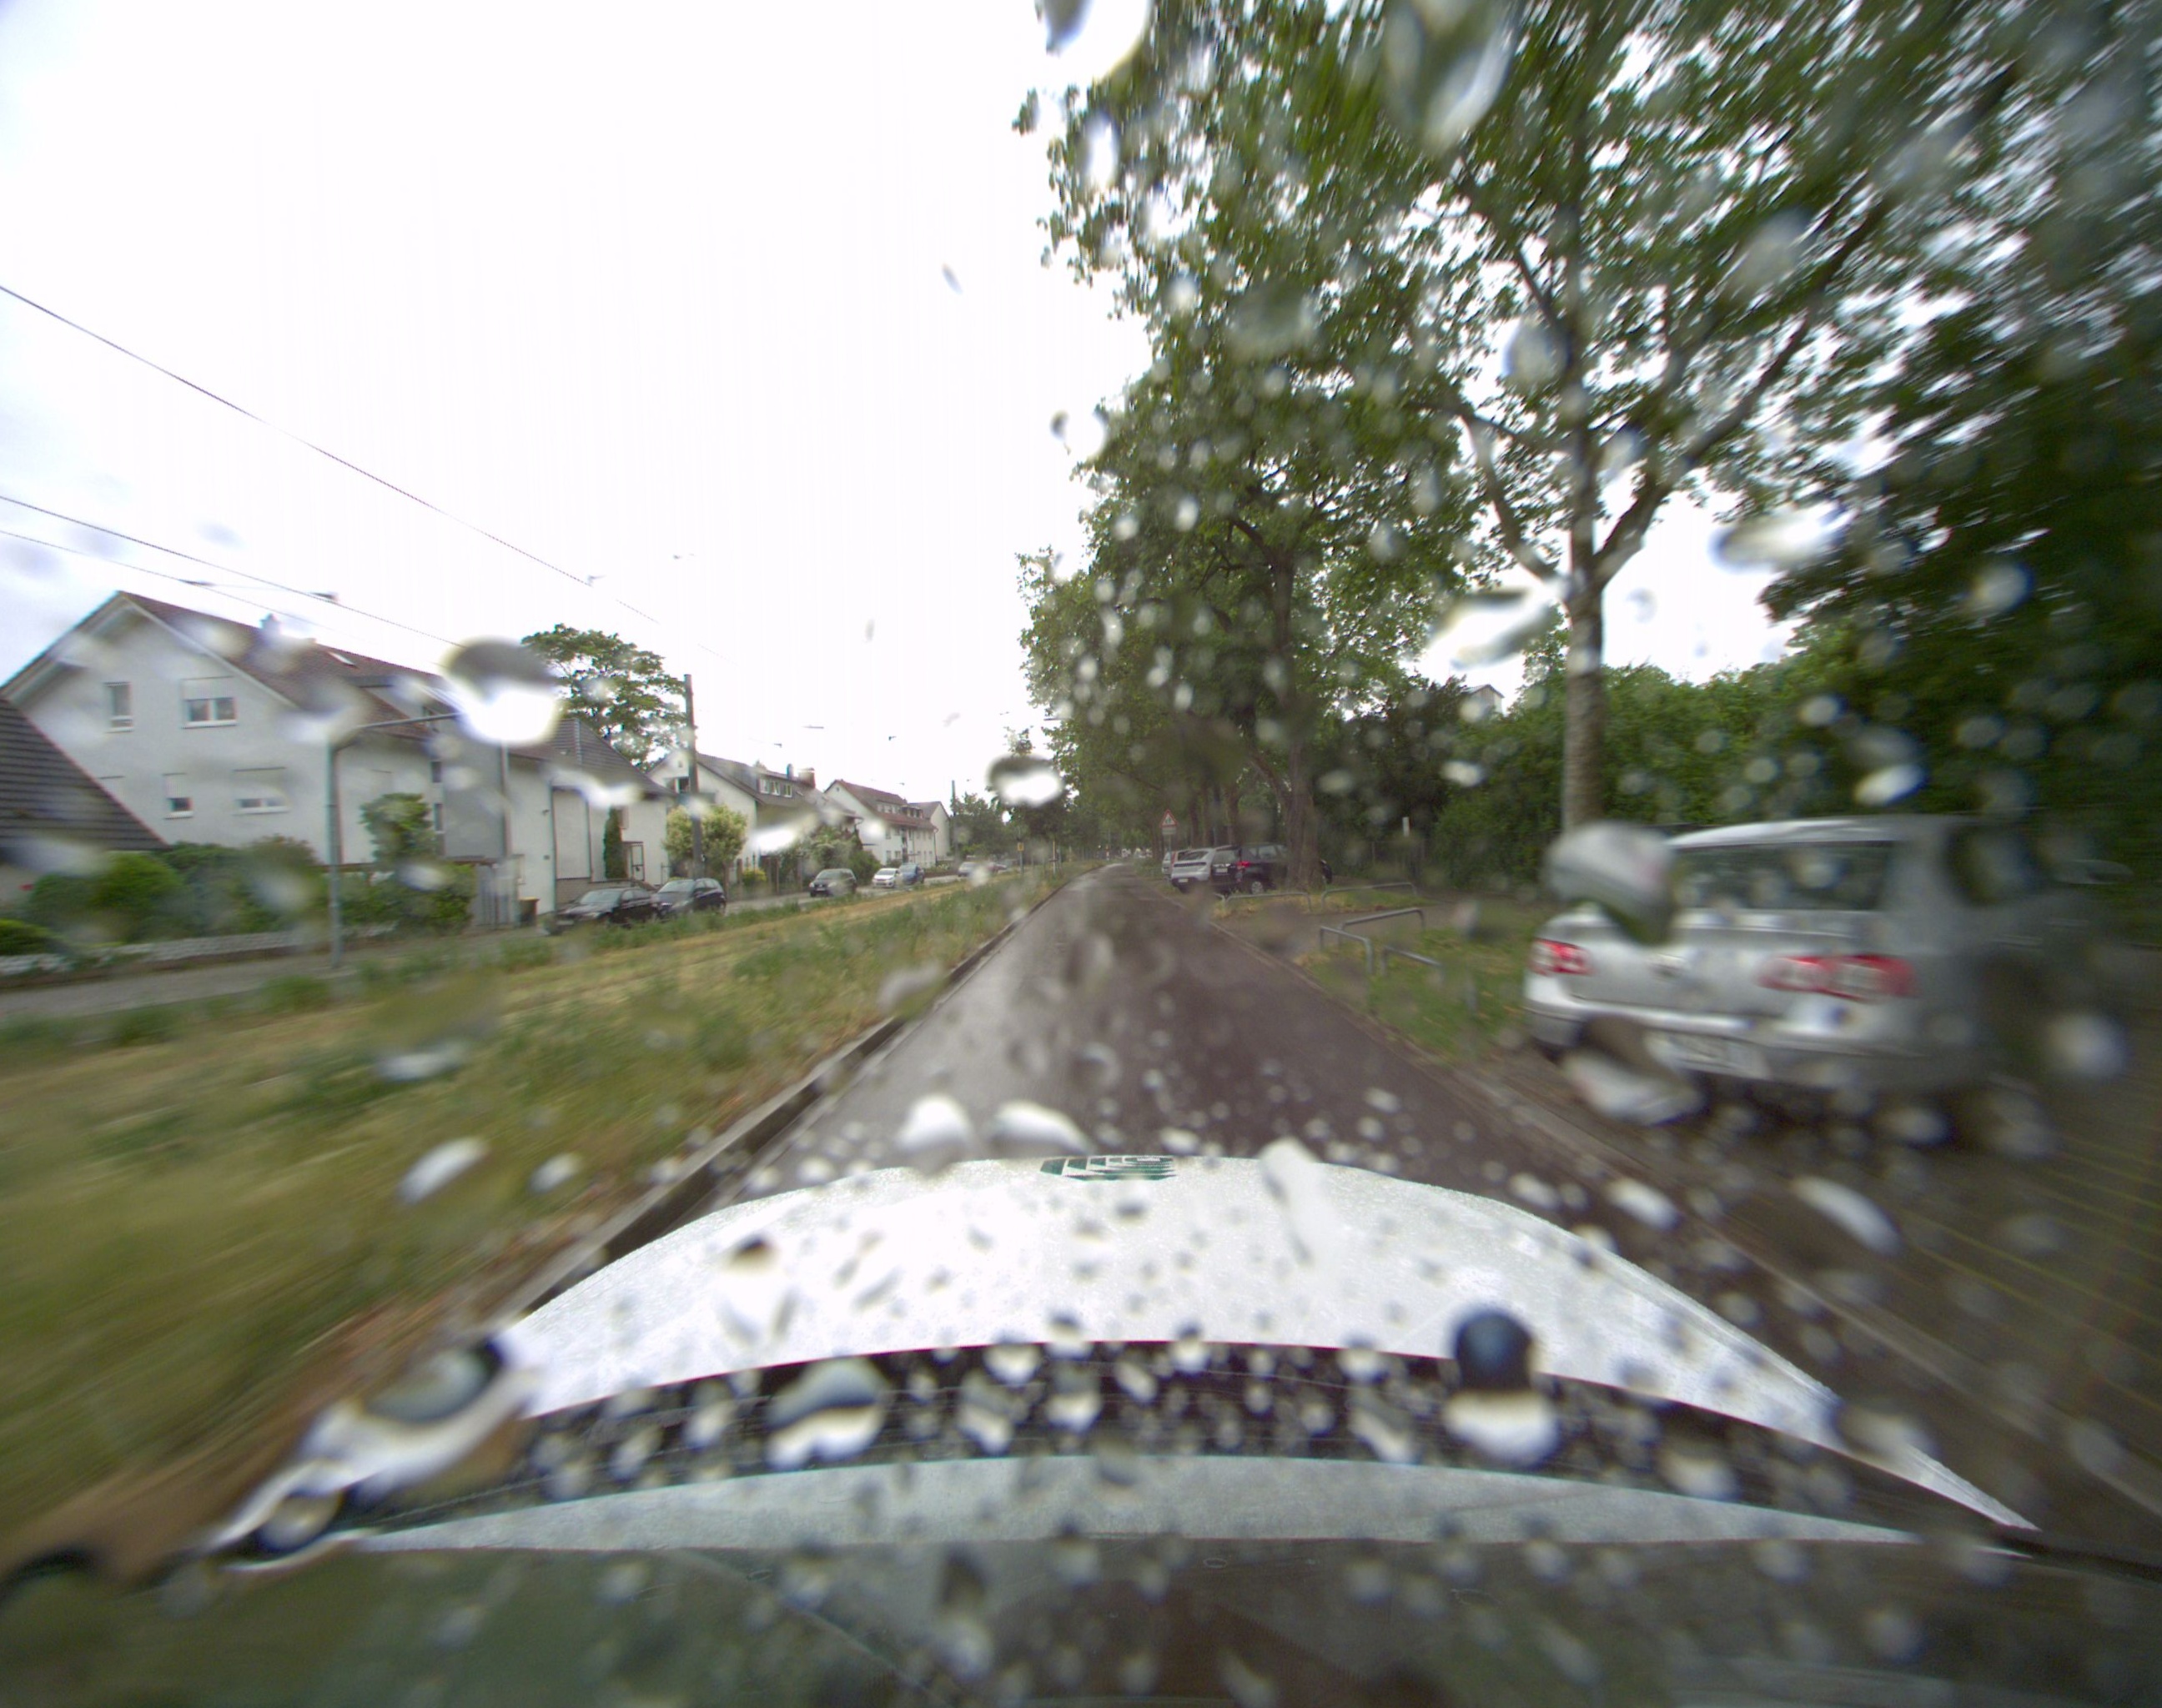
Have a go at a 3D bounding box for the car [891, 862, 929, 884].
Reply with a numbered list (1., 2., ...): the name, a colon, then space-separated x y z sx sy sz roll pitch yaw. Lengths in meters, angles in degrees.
1. car: -14.049 1.518 67.282 1.985 1.614 4.416 -1 1 3

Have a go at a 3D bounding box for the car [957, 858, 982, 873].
1. car: -12.467 1.252 91.172 1.985 1.581 4.520 -1 1 3

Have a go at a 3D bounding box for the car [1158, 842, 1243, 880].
1. car: 6.065 0.354 41.313 3.859 1.566 1.612 -5 0 -13

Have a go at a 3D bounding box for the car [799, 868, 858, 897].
1. car: -15.011 1.679 48.661 1.985 1.516 4.208 -1 1 3

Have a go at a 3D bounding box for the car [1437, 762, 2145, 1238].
1. car: 4.464 0.419 4.920 4.577 1.544 1.869 -7 2 -31

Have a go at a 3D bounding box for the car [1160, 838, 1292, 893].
1. car: 5.472 0.414 30.393 4.796 1.668 1.973 -4 0 -35

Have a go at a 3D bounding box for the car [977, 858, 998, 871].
1. car: -12.019 1.384 105.044 1.985 1.488 4.208 -1 1 3

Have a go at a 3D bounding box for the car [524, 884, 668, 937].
1. car: -15.693 1.773 26.675 1.985 1.350 4.243 -1 1 3

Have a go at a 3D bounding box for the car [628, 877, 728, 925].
1. car: -15.490 1.777 31.544 1.867 1.550 3.871 -1 1 1

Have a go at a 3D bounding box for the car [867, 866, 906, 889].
1. car: -14.461 1.737 60.703 1.789 1.488 3.599 -1 1 3

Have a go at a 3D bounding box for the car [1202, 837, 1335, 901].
1. car: 5.599 0.420 24.246 3.727 1.566 1.603 -4 0 -32
